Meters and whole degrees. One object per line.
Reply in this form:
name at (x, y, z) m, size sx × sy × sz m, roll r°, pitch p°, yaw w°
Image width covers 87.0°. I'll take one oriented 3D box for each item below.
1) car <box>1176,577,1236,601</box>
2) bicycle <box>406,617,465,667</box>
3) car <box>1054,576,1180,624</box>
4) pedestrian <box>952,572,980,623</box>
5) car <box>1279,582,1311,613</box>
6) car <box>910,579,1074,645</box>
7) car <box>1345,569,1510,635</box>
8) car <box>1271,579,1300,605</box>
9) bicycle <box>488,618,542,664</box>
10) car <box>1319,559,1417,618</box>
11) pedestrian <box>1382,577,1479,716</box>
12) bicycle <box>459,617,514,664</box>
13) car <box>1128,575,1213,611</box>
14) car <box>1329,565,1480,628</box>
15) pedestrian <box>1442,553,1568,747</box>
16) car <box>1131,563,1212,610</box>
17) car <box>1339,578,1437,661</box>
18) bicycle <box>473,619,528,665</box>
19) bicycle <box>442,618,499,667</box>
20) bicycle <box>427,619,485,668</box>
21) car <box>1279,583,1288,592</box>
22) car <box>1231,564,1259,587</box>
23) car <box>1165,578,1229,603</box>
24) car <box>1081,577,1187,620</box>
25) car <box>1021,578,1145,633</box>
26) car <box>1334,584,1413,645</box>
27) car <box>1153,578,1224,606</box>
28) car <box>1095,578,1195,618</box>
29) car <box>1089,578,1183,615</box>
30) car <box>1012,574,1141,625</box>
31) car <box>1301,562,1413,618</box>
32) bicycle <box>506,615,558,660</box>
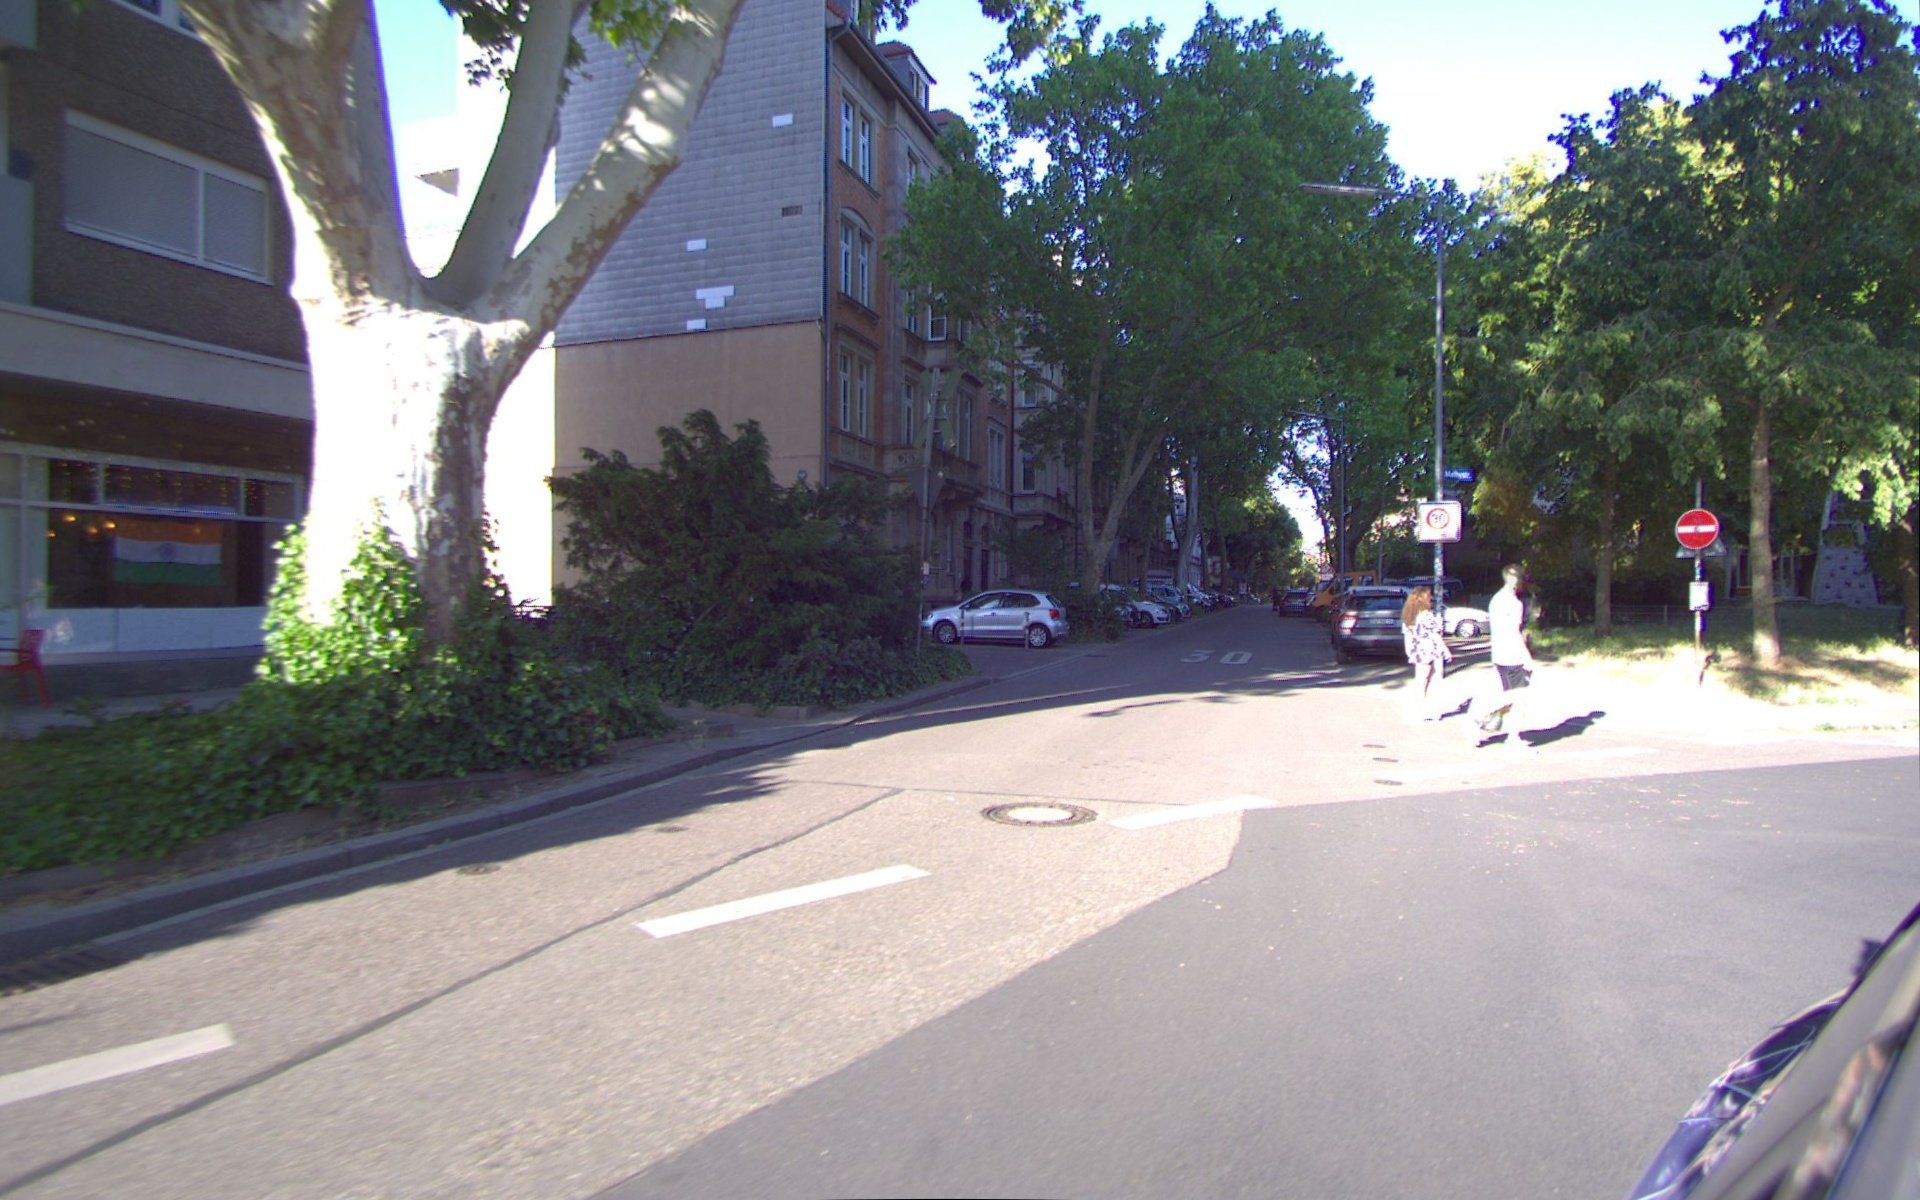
car at (19.000, -0.844, 78.273) m, size 4.420 × 1.651 × 1.727 m, roll 2°, pitch 1°, yaw 15°
bicycle at (-8.127, 0.647, 15.681) m, size 0.883 × 0.750 × 0.271 m, roll 0°, pitch 0°, yaw 18°
car at (5.986, -0.026, 38.771) m, size 4.443 × 1.651 × 1.717 m, roll 2°, pitch 1°, yaw 28°
pedestrian at (0.208, -0.092, 33.228) m, size 0.802 × 1.628 × 0.714 m, roll 0°, pitch 0°, yaw 12°
car at (18.097, -0.168, 54.608) m, size 1.587 × 1.486 × 3.976 m, roll 2°, pitch 2°, yaw 19°
car at (0.864, 0.278, 26.187) m, size 3.943 × 1.491 × 1.727 m, roll 2°, pitch 1°, yaw 15°
car at (14.089, 0.076, 30.731) m, size 4.351 × 1.729 × 1.720 m, roll -3°, pitch -1°, yaw 23°
car at (22.510, -0.572, 70.165) m, size 1.710 × 1.653 × 4.477 m, roll 2°, pitch 1°, yaw 16°
bicycle at (-7.575, 0.693, 17.229) m, size 0.883 × 0.750 × 0.271 m, roll 0°, pitch 0°, yaw 18°
car at (21.127, -0.605, 52.603) m, size 4.578 × 3.004 × 1.598 m, roll 0°, pitch 0°, yaw 18°
pedestrian at (5.755, 0.542, 12.412) m, size 0.701 × 1.628 × 0.816 m, roll 0°, pitch 0°, yaw -18°
bicycle at (-7.775, 0.658, 16.622) m, size 0.883 × 0.750 × 0.271 m, roll 0°, pitch 0°, yaw 18°
car at (11.766, -0.409, 56.611) m, size 4.526 × 1.787 × 1.727 m, roll 2°, pitch 1°, yaw 15°
car at (14.570, -0.081, 33.385) m, size 4.351 × 1.799 × 1.772 m, roll -3°, pitch -1°, yaw 23°
pedestrian at (5.341, 0.461, 9.945) m, size 0.701 × 1.804 × 0.816 m, roll 0°, pitch 0°, yaw -18°
car at (12.365, -0.802, 59.082) m, size 4.526 × 2.533 × 1.727 m, roll 2°, pitch 1°, yaw 15°
car at (9.311, 0.377, 22.085) m, size 1.722 × 1.572 × 4.243 m, roll -3°, pitch -1°, yaw 23°
bicycle at (-7.687, 0.698, 16.924) m, size 0.883 × 0.750 × 0.271 m, roll 0°, pitch 0°, yaw 18°
bicycle at (-7.888, 0.677, 16.311) m, size 0.883 × 0.750 × 0.271 m, roll 0°, pitch 0°, yaw 18°
bicycle at (-7.973, 0.683, 15.999) m, size 0.883 × 0.750 × 0.271 m, roll 0°, pitch 0°, yaw 18°
car at (75.948, -2.855, 237.696) m, size 1.975 × 2.039 × 3.975 m, roll 0°, pitch 1°, yaw 19°
car at (25.945, -2.207, 92.061) m, size 1.978 × 2.039 × 3.968 m, roll 1°, pitch 1°, yaw 24°
car at (17.131, -0.698, 73.177) m, size 4.420 × 1.651 × 1.727 m, roll 2°, pitch 1°, yaw 15°
car at (7.629, -0.085, 44.389) m, size 4.420 × 1.651 × 1.727 m, roll 2°, pitch 1°, yaw 15°
car at (3.923, 0.136, 32.021) m, size 3.721 × 1.638 × 1.902 m, roll 1°, pitch 1°, yaw 13°
car at (10.991, 0.326, 27.156) m, size 1.722 × 1.467 × 4.615 m, roll -1°, pitch 0°, yaw 20°
car at (14.894, -0.524, 65.962) m, size 4.420 × 1.651 × 1.727 m, roll 2°, pitch 1°, yaw 15°
car at (8.562, -0.135, 46.881) m, size 4.420 × 1.651 × 1.727 m, roll 2°, pitch 2°, yaw 15°
car at (8.749, -0.210, 50.303) m, size 4.420 × 1.651 × 1.727 m, roll 2°, pitch 1°, yaw 15°
car at (4.263, -0.027, 36.845) m, size 4.420 × 1.651 × 1.727 m, roll 2°, pitch 1°, yaw 15°
car at (17.797, -0.473, 45.615) m, size 4.578 × 2.443 × 1.598 m, roll 0°, pitch 0°, yaw 18°
bicycle at (-7.443, 0.643, 17.591) m, size 0.883 × 0.750 × 0.271 m, roll 0°, pitch 0°, yaw 18°
